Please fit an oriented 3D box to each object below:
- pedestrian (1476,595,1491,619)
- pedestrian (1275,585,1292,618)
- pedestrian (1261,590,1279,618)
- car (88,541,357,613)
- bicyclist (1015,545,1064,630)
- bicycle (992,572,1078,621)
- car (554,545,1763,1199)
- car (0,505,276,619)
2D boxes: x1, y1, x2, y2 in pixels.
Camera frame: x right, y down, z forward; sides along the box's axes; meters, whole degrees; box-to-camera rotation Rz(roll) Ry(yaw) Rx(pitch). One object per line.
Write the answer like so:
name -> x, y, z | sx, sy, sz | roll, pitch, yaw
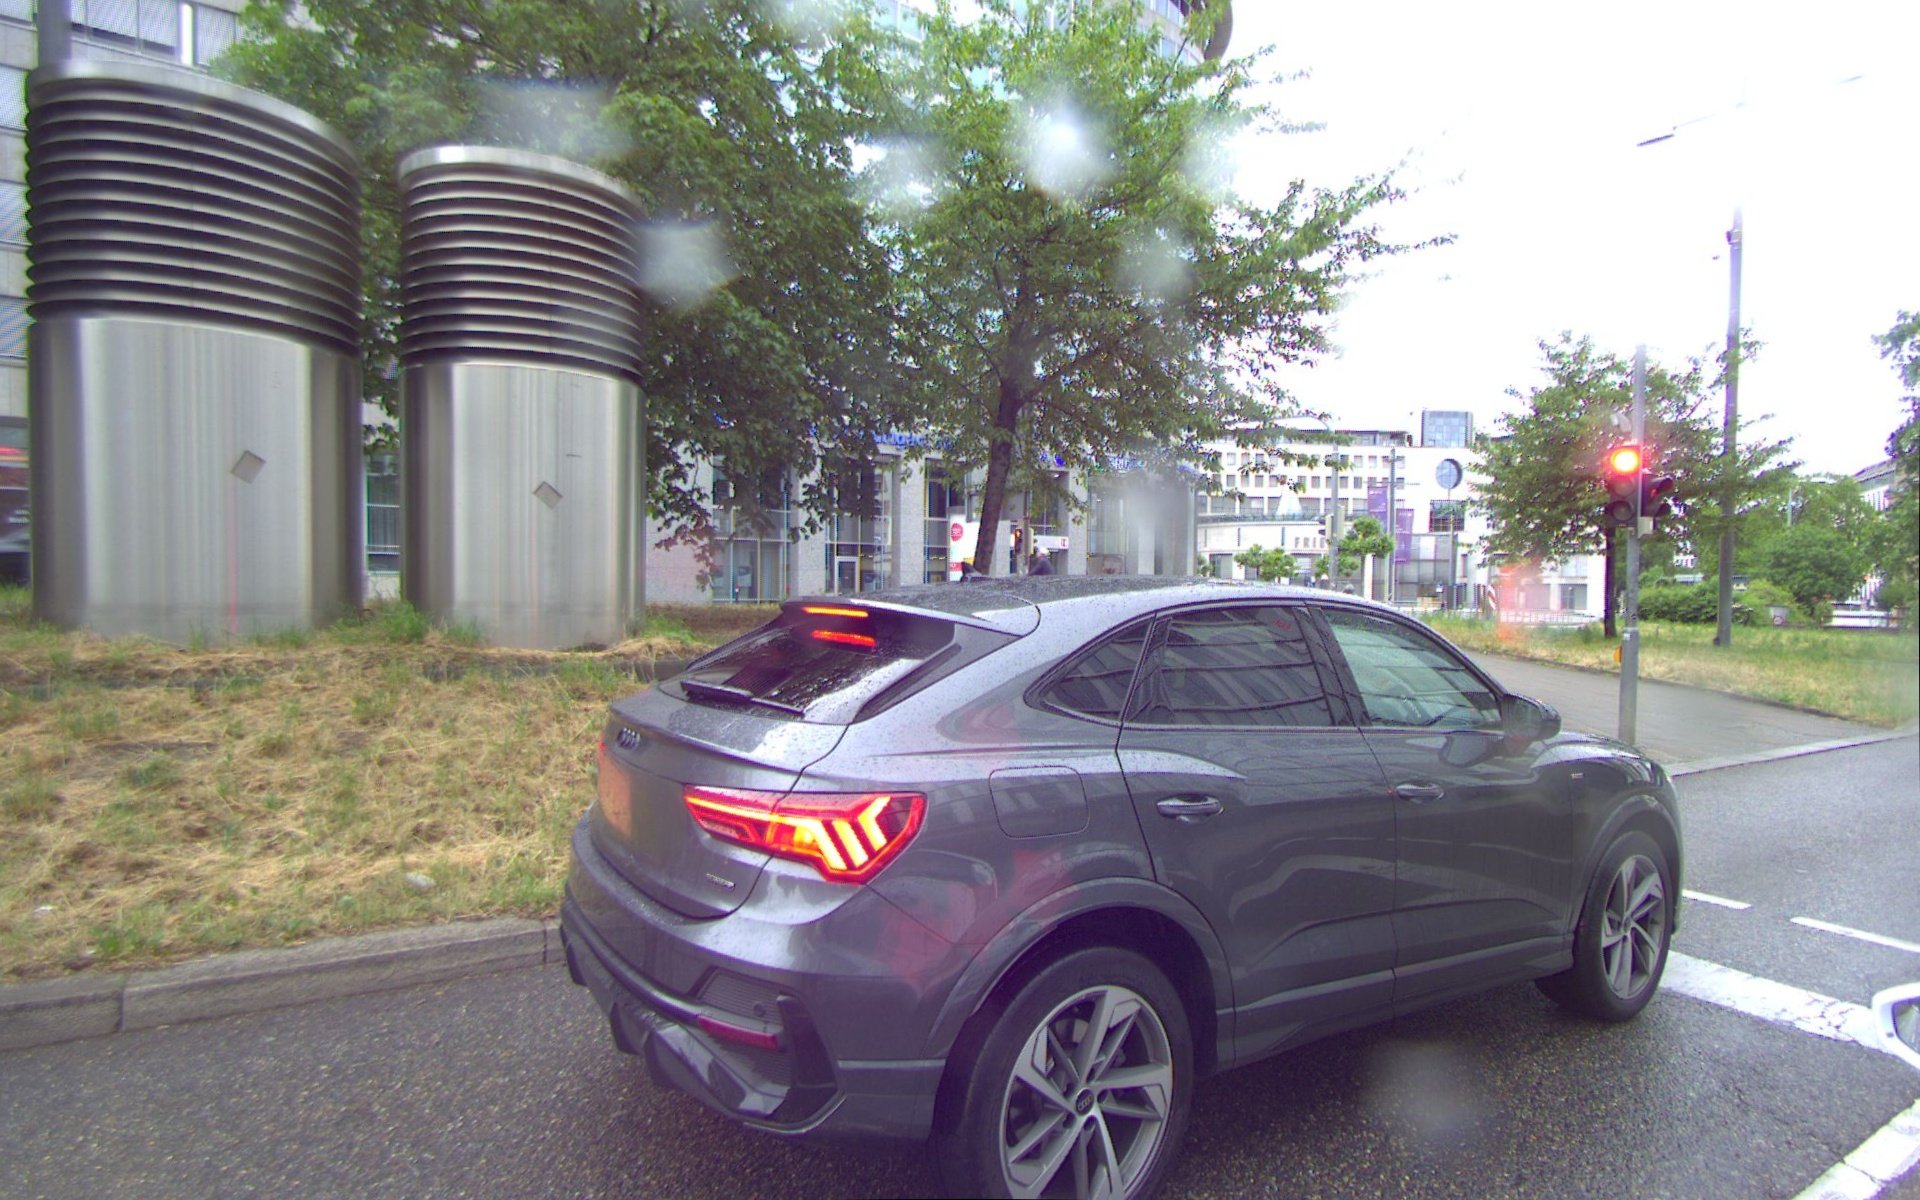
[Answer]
pedestrian -> 46.532, 0.623, 89.221 | 0.731, 2.041, 0.786 | 1, 2, -28
pedestrian -> 17.401, 0.091, 54.031 | 0.613, 1.786, 0.722 | -1, -2, 42
pedestrian -> 16.842, 0.226, 54.588 | 0.719, 1.536, 0.688 | -1, -2, 40
car -> -15.515, -0.451, 21.371 | 4.435, 1.343, 1.878 | 1, 1, -37
bicyclist -> 2.058, -0.334, 25.970 | 1.063, 2.111, 0.763 | 3, 4, 14
bicycle -> 1.937, -0.107, 26.014 | 2.090, 1.161, 0.763 | 3, 4, 15
car -> 0.929, 0.710, 3.649 | 4.206, 1.638, 1.837 | 0, 2, -33
car -> -12.617, -0.543, 14.537 | 4.347, 1.506, 1.789 | 1, 2, -40
